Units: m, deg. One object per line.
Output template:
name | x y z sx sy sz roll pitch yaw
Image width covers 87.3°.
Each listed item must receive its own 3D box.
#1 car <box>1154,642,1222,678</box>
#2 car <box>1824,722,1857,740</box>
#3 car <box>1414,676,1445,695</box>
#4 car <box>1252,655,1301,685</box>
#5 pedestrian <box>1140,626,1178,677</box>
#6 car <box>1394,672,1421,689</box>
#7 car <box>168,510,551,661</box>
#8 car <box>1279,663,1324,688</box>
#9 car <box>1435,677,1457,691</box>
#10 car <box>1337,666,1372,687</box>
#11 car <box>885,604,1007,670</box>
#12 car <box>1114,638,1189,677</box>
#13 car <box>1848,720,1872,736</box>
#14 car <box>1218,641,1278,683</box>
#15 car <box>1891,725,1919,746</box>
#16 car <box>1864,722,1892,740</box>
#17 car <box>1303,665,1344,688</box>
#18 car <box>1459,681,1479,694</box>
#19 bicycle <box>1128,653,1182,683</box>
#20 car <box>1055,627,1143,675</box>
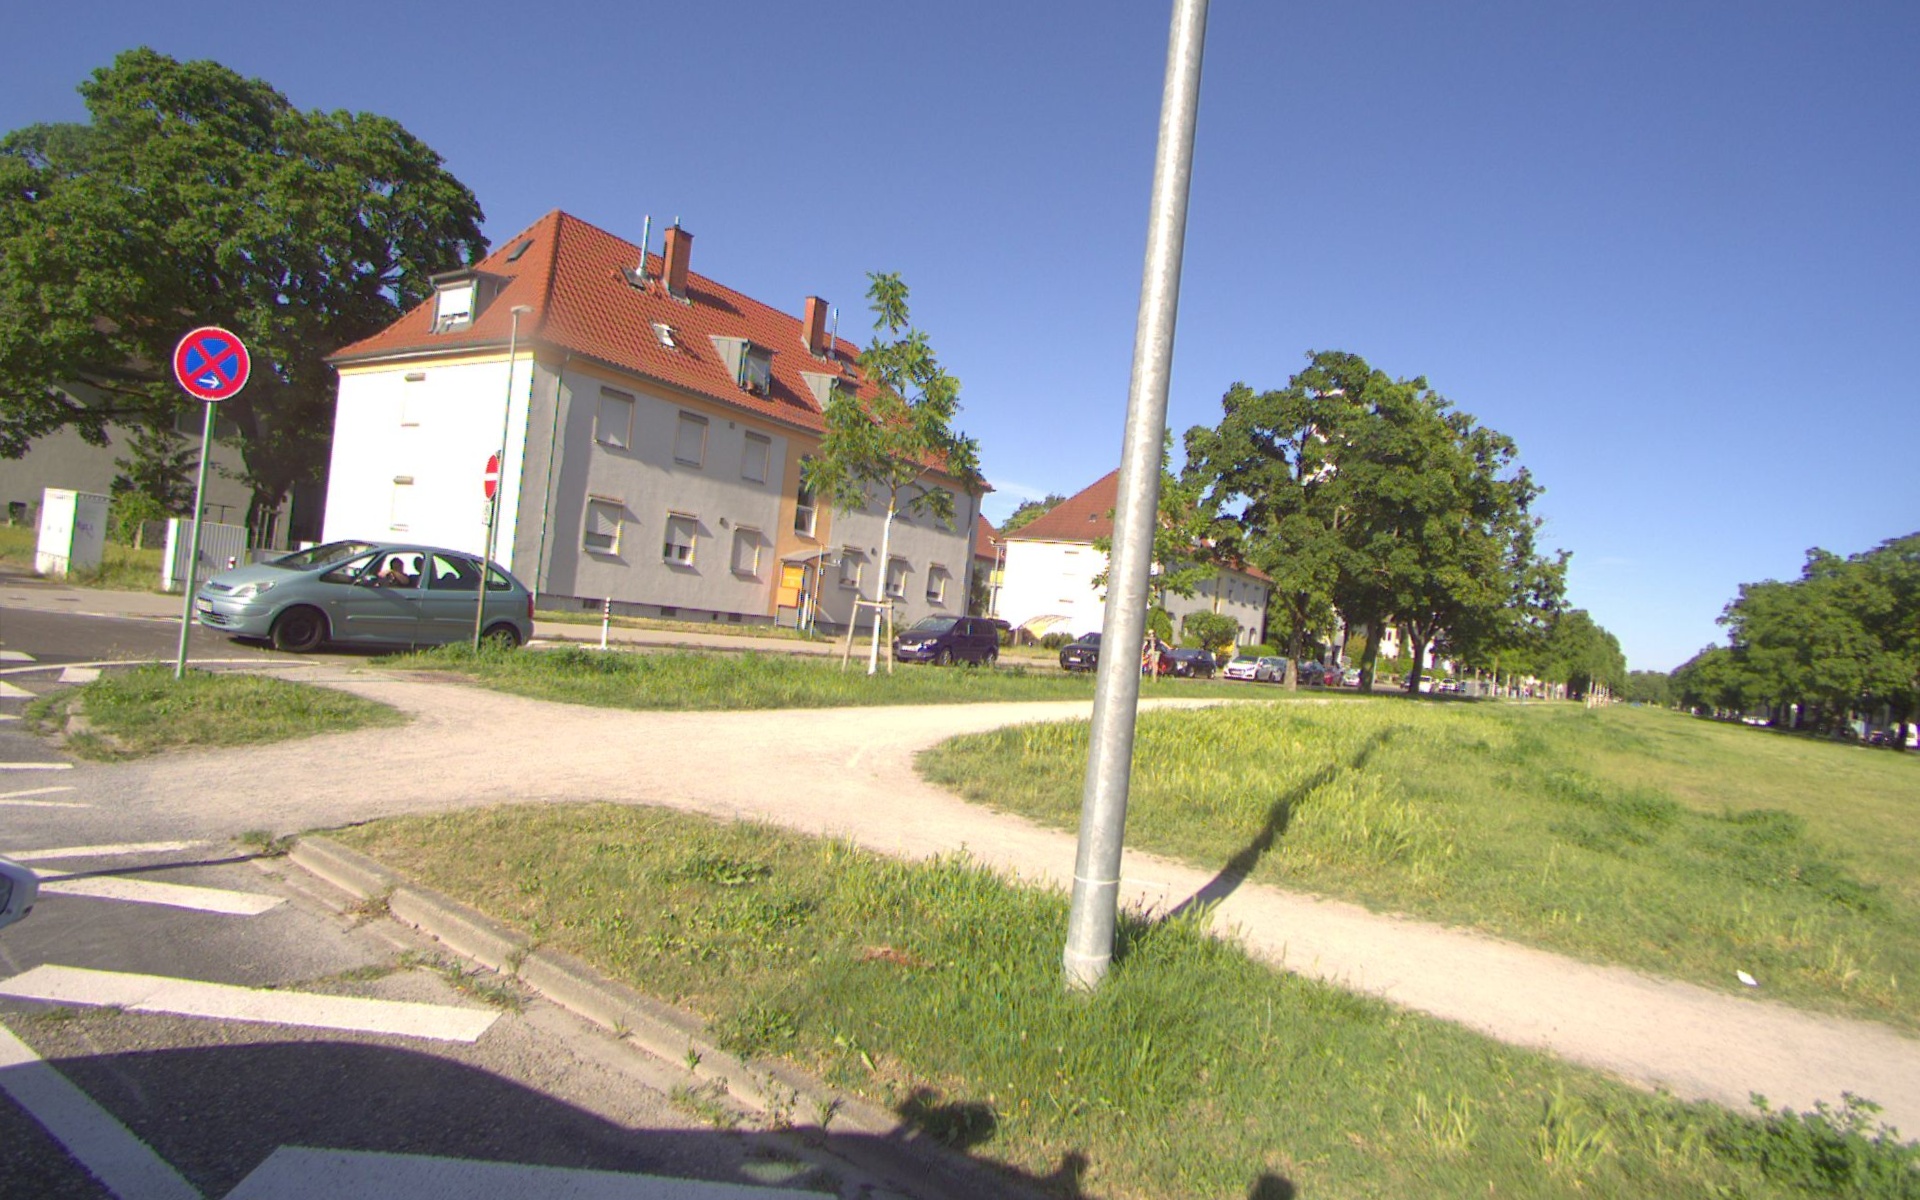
car | 11.208 2.968 49.291 1.694 1.459 4.129 7 -1 35
car | 92.921 13.814 106.198 2.049 1.484 4.713 7 -1 36
car | 40.176 7.292 86.085 1.694 1.358 3.798 7 -1 35
car | 19.314 4.292 61.370 1.694 1.517 3.798 7 -1 35
pedestrian | 7.313 1.887 36.991 1.036 1.730 0.692 7 0 30
car | 43.989 7.907 98.852 1.694 1.358 3.798 7 -1 35
car | -8.377 -0.114 14.414 1.859 1.628 4.235 7 -1 35
car | 22.417 4.983 65.989 1.694 1.358 3.798 7 -1 35
car | 56.866 9.884 117.715 1.694 1.358 3.798 7 -1 35
car | 31.397 6.076 80.043 1.694 1.358 3.798 7 -1 35
car | -0.375 1.203 31.789 1.694 1.684 4.053 7 -1 35
car | 8.688 2.626 45.490 1.694 1.459 4.129 7 -1 35
car | 119.486 16.982 133.585 1.837 1.868 3.982 7 -1 35
car | 16.353 3.562 56.995 1.842 2.038 4.244 7 -1 35
car | 103.767 14.809 110.319 1.837 1.868 3.982 7 -1 35
car | 110.853 15.813 121.470 1.837 1.868 3.982 7 -1 35
car | 25.636 5.383 70.829 1.694 1.358 3.798 7 -1 35
car | 66.044 11.375 130.477 1.694 1.358 3.798 7 -1 35
bicycle | 7.180 2.510 36.886 1.036 0.949 2.759 7 -1 30
car | 5.672 2.101 40.665 1.694 1.602 4.129 7 -1 35
